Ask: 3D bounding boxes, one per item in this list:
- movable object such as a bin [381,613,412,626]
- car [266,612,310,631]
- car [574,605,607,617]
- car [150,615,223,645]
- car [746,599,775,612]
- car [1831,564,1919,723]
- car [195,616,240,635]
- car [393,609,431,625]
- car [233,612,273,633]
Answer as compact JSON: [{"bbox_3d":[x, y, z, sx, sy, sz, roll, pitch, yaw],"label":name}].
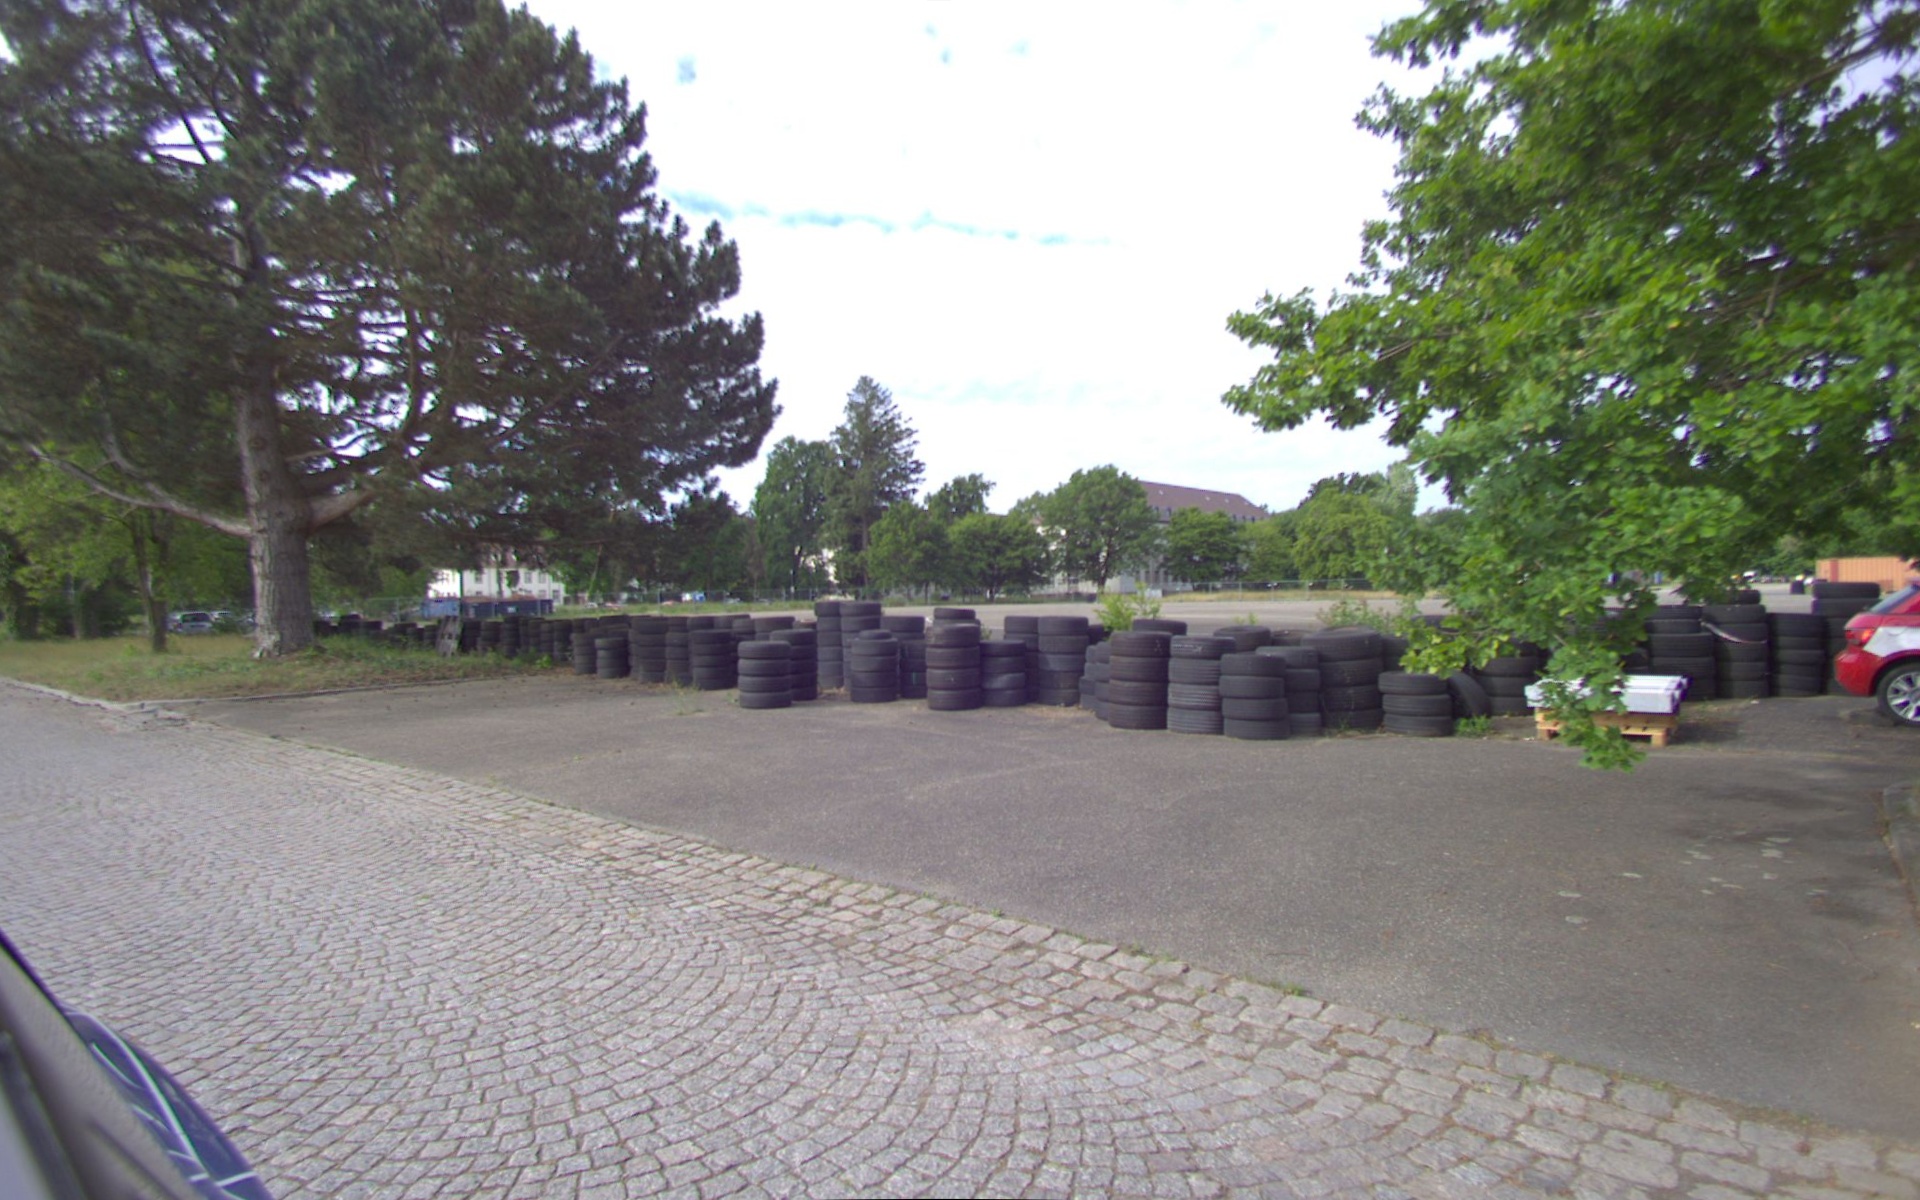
[{"bbox_3d":[-44.914,1.553,80.683,1.952,0.976,1.432,-2,0,33],"label":"movable object such as a bin"},{"bbox_3d":[-57.038,1.820,85.846,4.396,1.486,1.807,-2,0,38],"label":"car"},{"bbox_3d":[-43.467,1.276,119.093,4.399,1.361,1.689,-2,0,40],"label":"car"},{"bbox_3d":[-37.997,1.473,49.701,4.415,1.427,1.807,-2,-2,38],"label":"car"},{"bbox_3d":[-27.221,0.765,138.176,1.802,1.735,4.588,-2,0,-41],"label":"car"},{"bbox_3d":[10.282,0.341,8.715,1.606,1.444,4.067,-2,0,-44],"label":"car"},{"bbox_3d":[-59.945,2.036,81.636,4.314,1.436,1.807,-2,0,38],"label":"car"},{"bbox_3d":[-56.348,1.739,104.125,4.396,1.486,1.807,-2,0,38],"label":"car"},{"bbox_3d":[-58.400,1.873,83.569,3.893,1.531,1.654,-4,-1,38],"label":"car"}]
